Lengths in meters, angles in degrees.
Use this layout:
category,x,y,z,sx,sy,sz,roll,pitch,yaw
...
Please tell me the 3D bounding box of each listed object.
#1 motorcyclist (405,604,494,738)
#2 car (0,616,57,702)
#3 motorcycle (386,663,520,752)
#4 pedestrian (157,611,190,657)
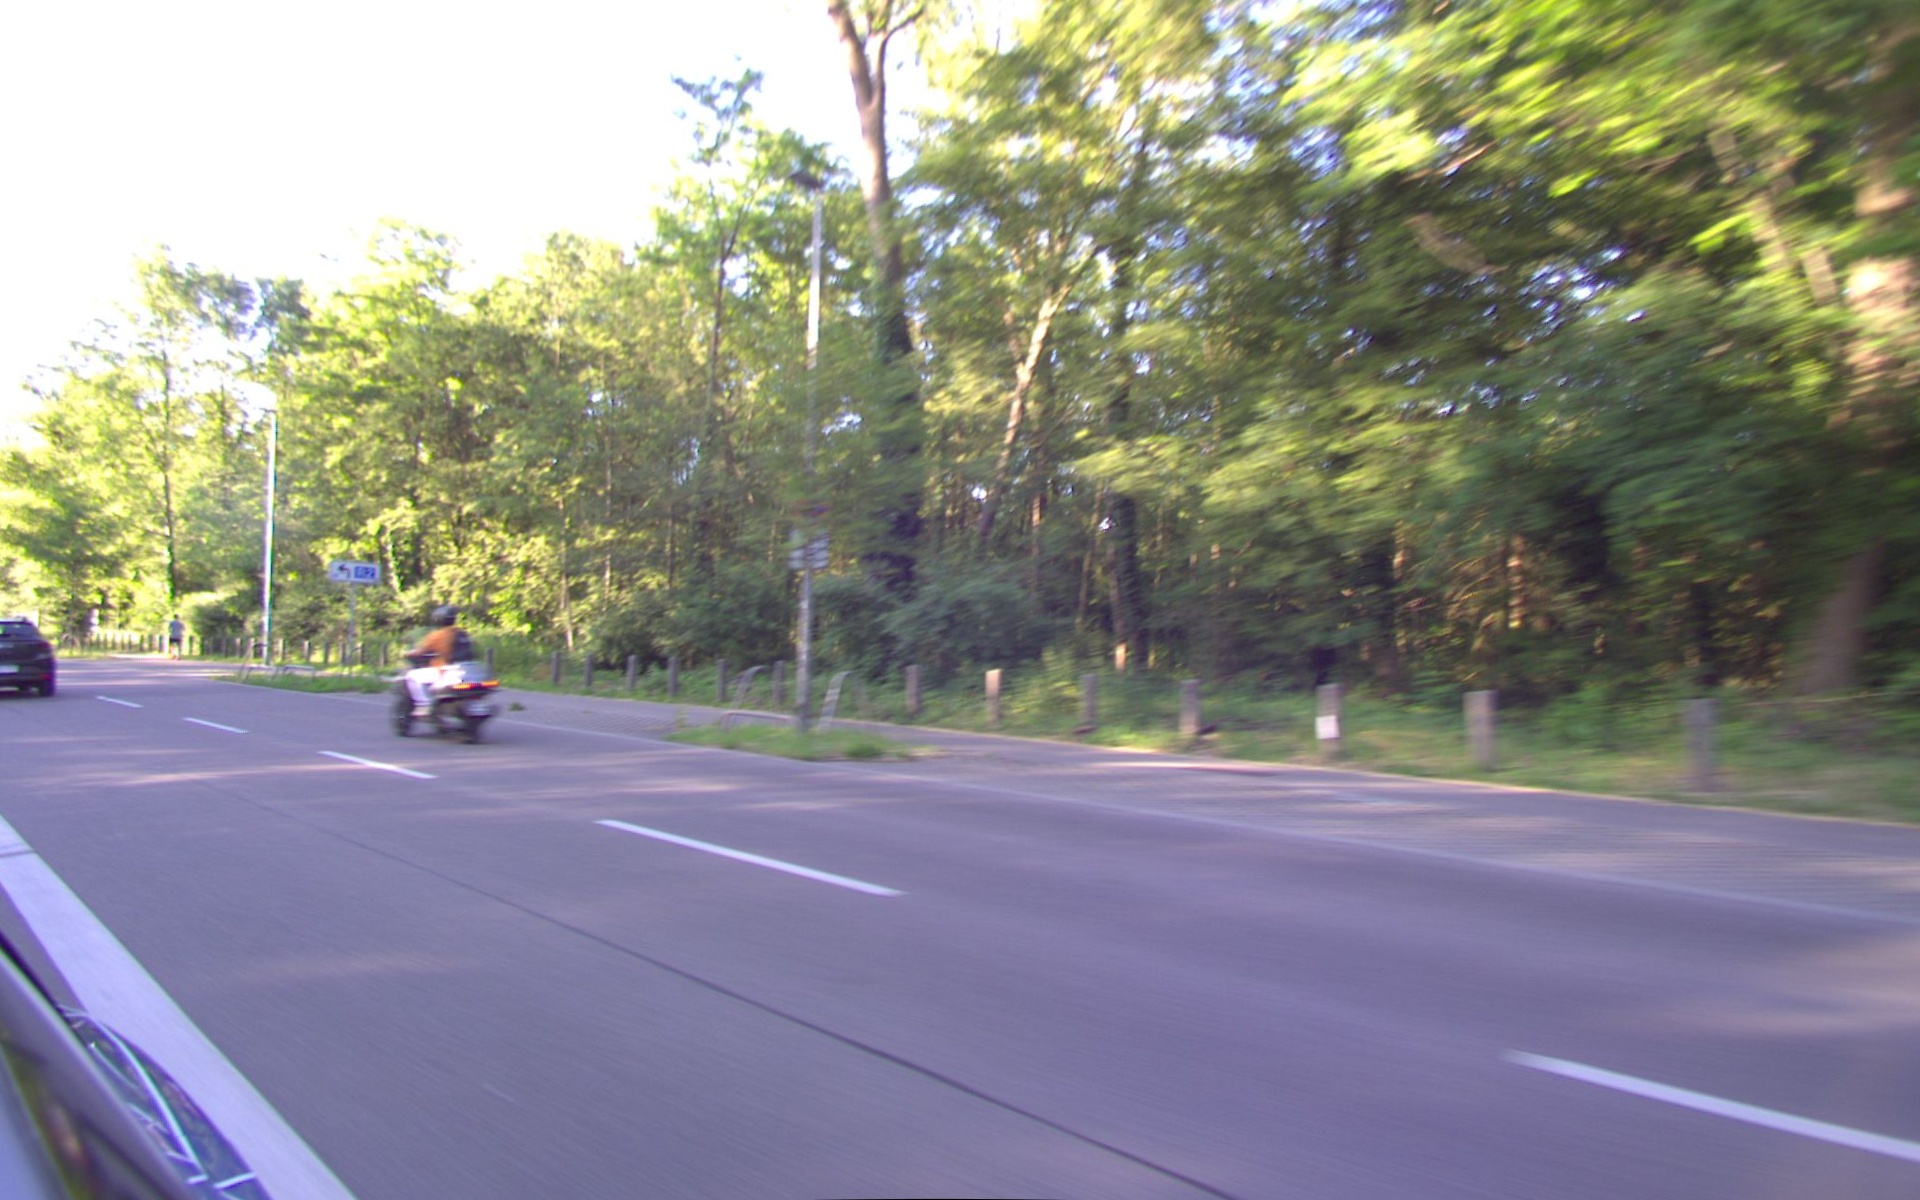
category,x,y,z,sx,sy,sz,roll,pitch,yaw
motorcyclist,-6.178,0.833,12.252,0.904,1.552,0.649,-1,-2,40
car,-19.110,1.104,19.693,4.088,1.556,1.786,-1,-2,41
motorcycle,-6.148,1.257,12.214,2.165,0.911,0.662,-1,-2,41
pedestrian,-31.162,1.344,40.088,0.736,1.781,0.764,-1,-3,35
